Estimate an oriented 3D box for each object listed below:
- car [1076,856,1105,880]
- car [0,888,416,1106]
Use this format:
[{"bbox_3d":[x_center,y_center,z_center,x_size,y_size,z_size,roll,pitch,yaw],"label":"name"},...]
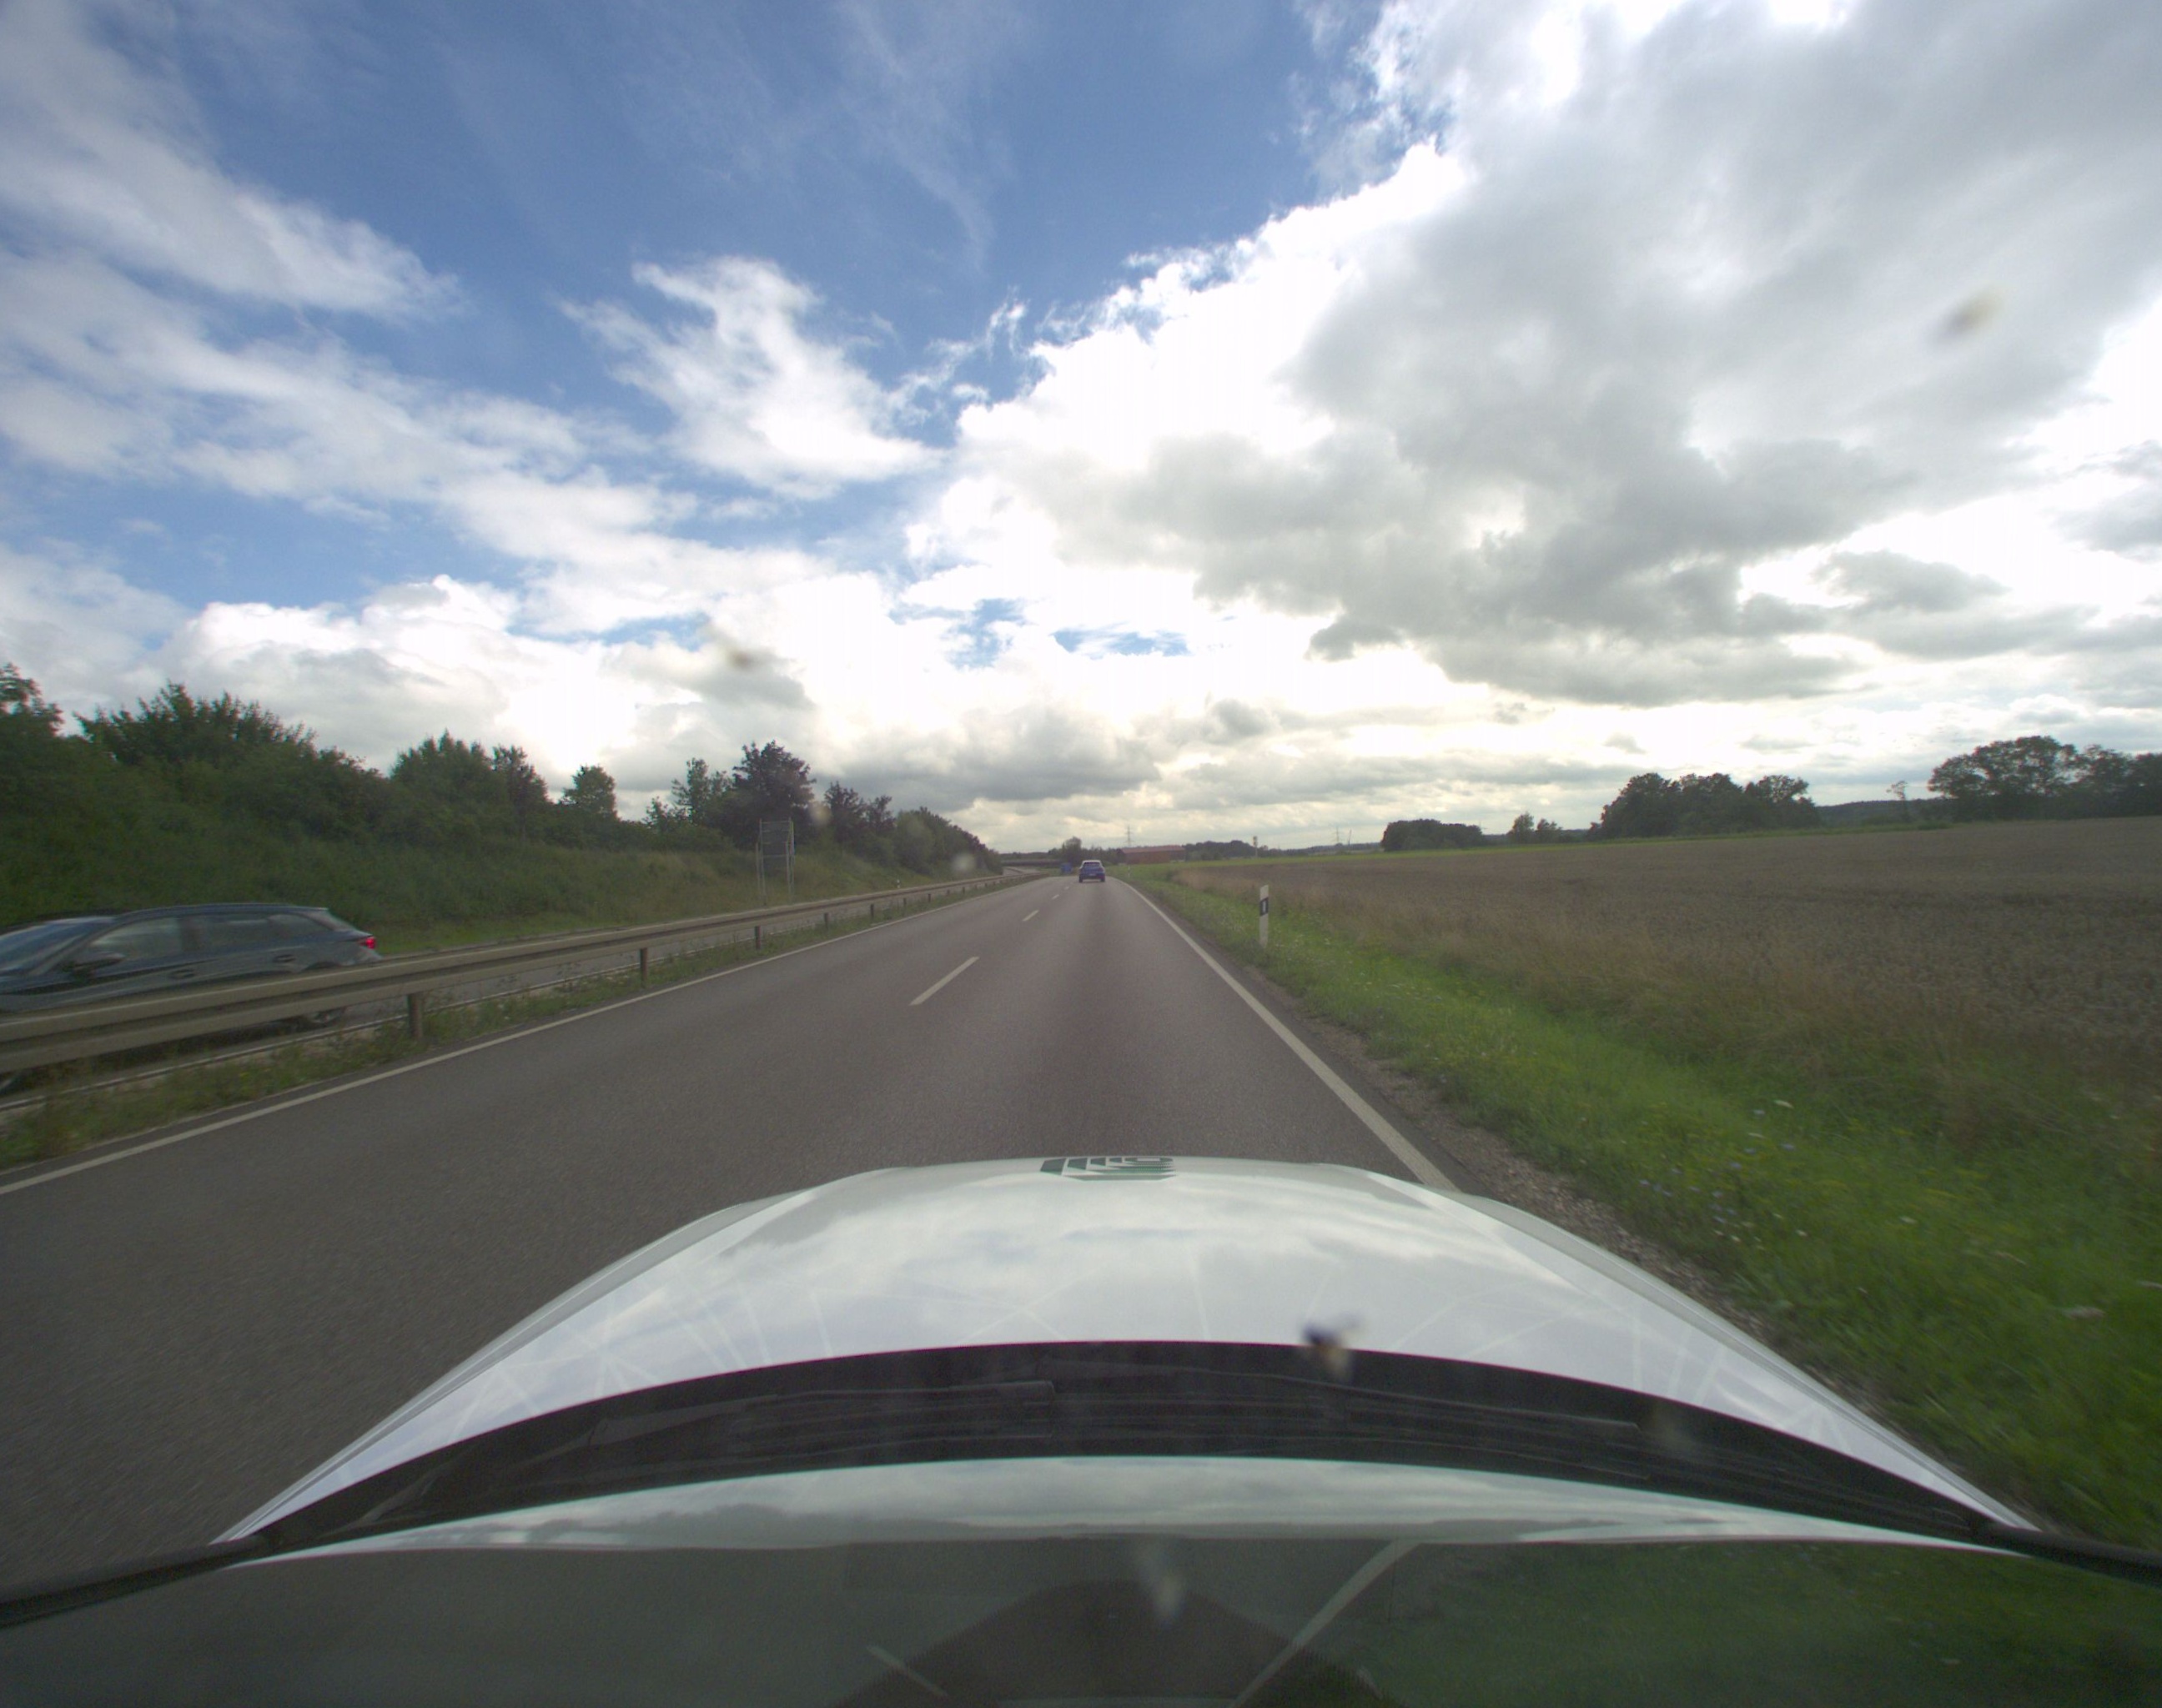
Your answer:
[{"bbox_3d":[0.785,1.011,61.219,2.025,1.660,4.545,-2,0,2],"label":"car"},{"bbox_3d":[-9.215,1.234,7.783,1.747,1.486,4.579,-3,0,2],"label":"car"}]
